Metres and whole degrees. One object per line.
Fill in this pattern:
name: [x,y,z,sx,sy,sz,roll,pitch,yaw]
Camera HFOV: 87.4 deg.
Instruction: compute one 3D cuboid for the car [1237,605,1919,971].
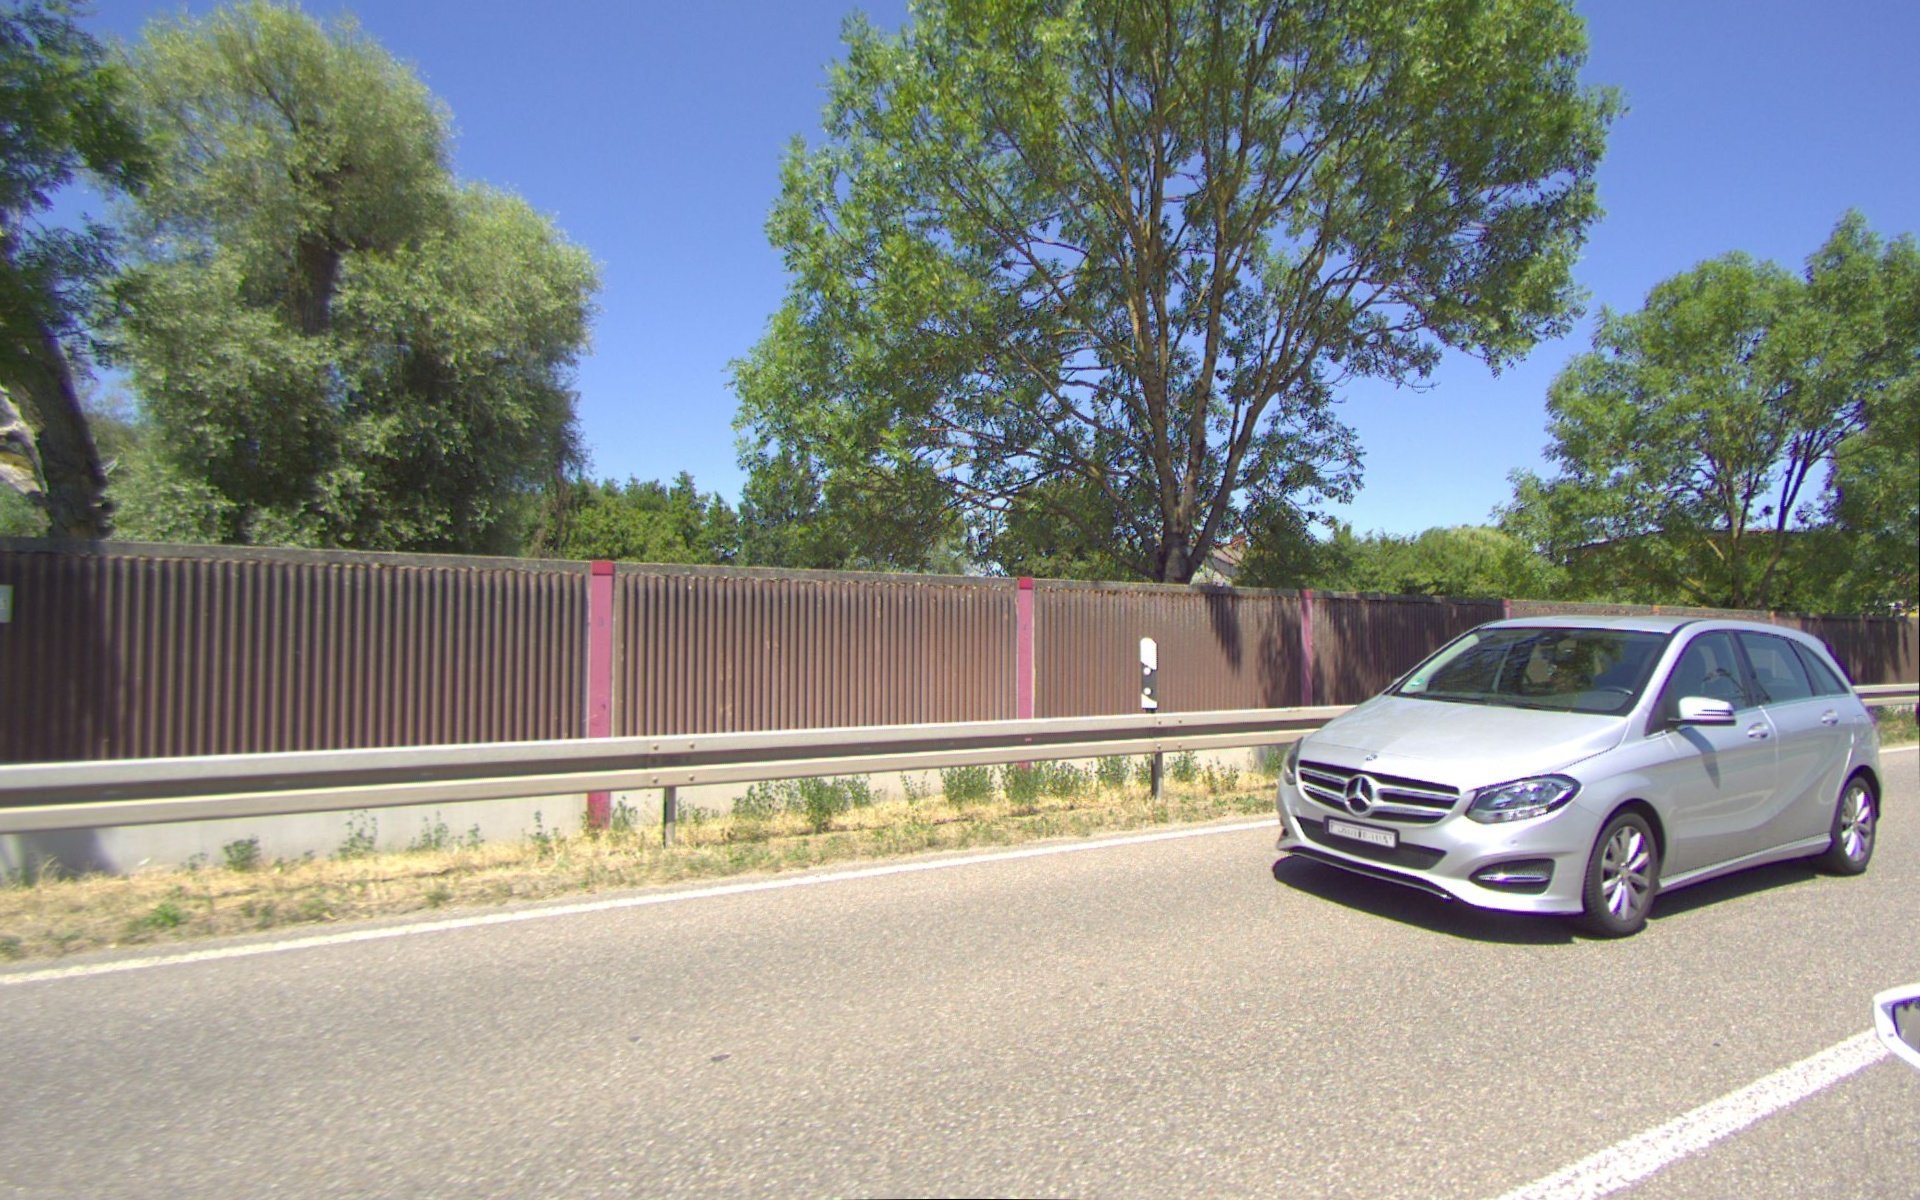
car: [3.923,0.854,6.102,4.337,1.546,1.781,1,-1,-29]
